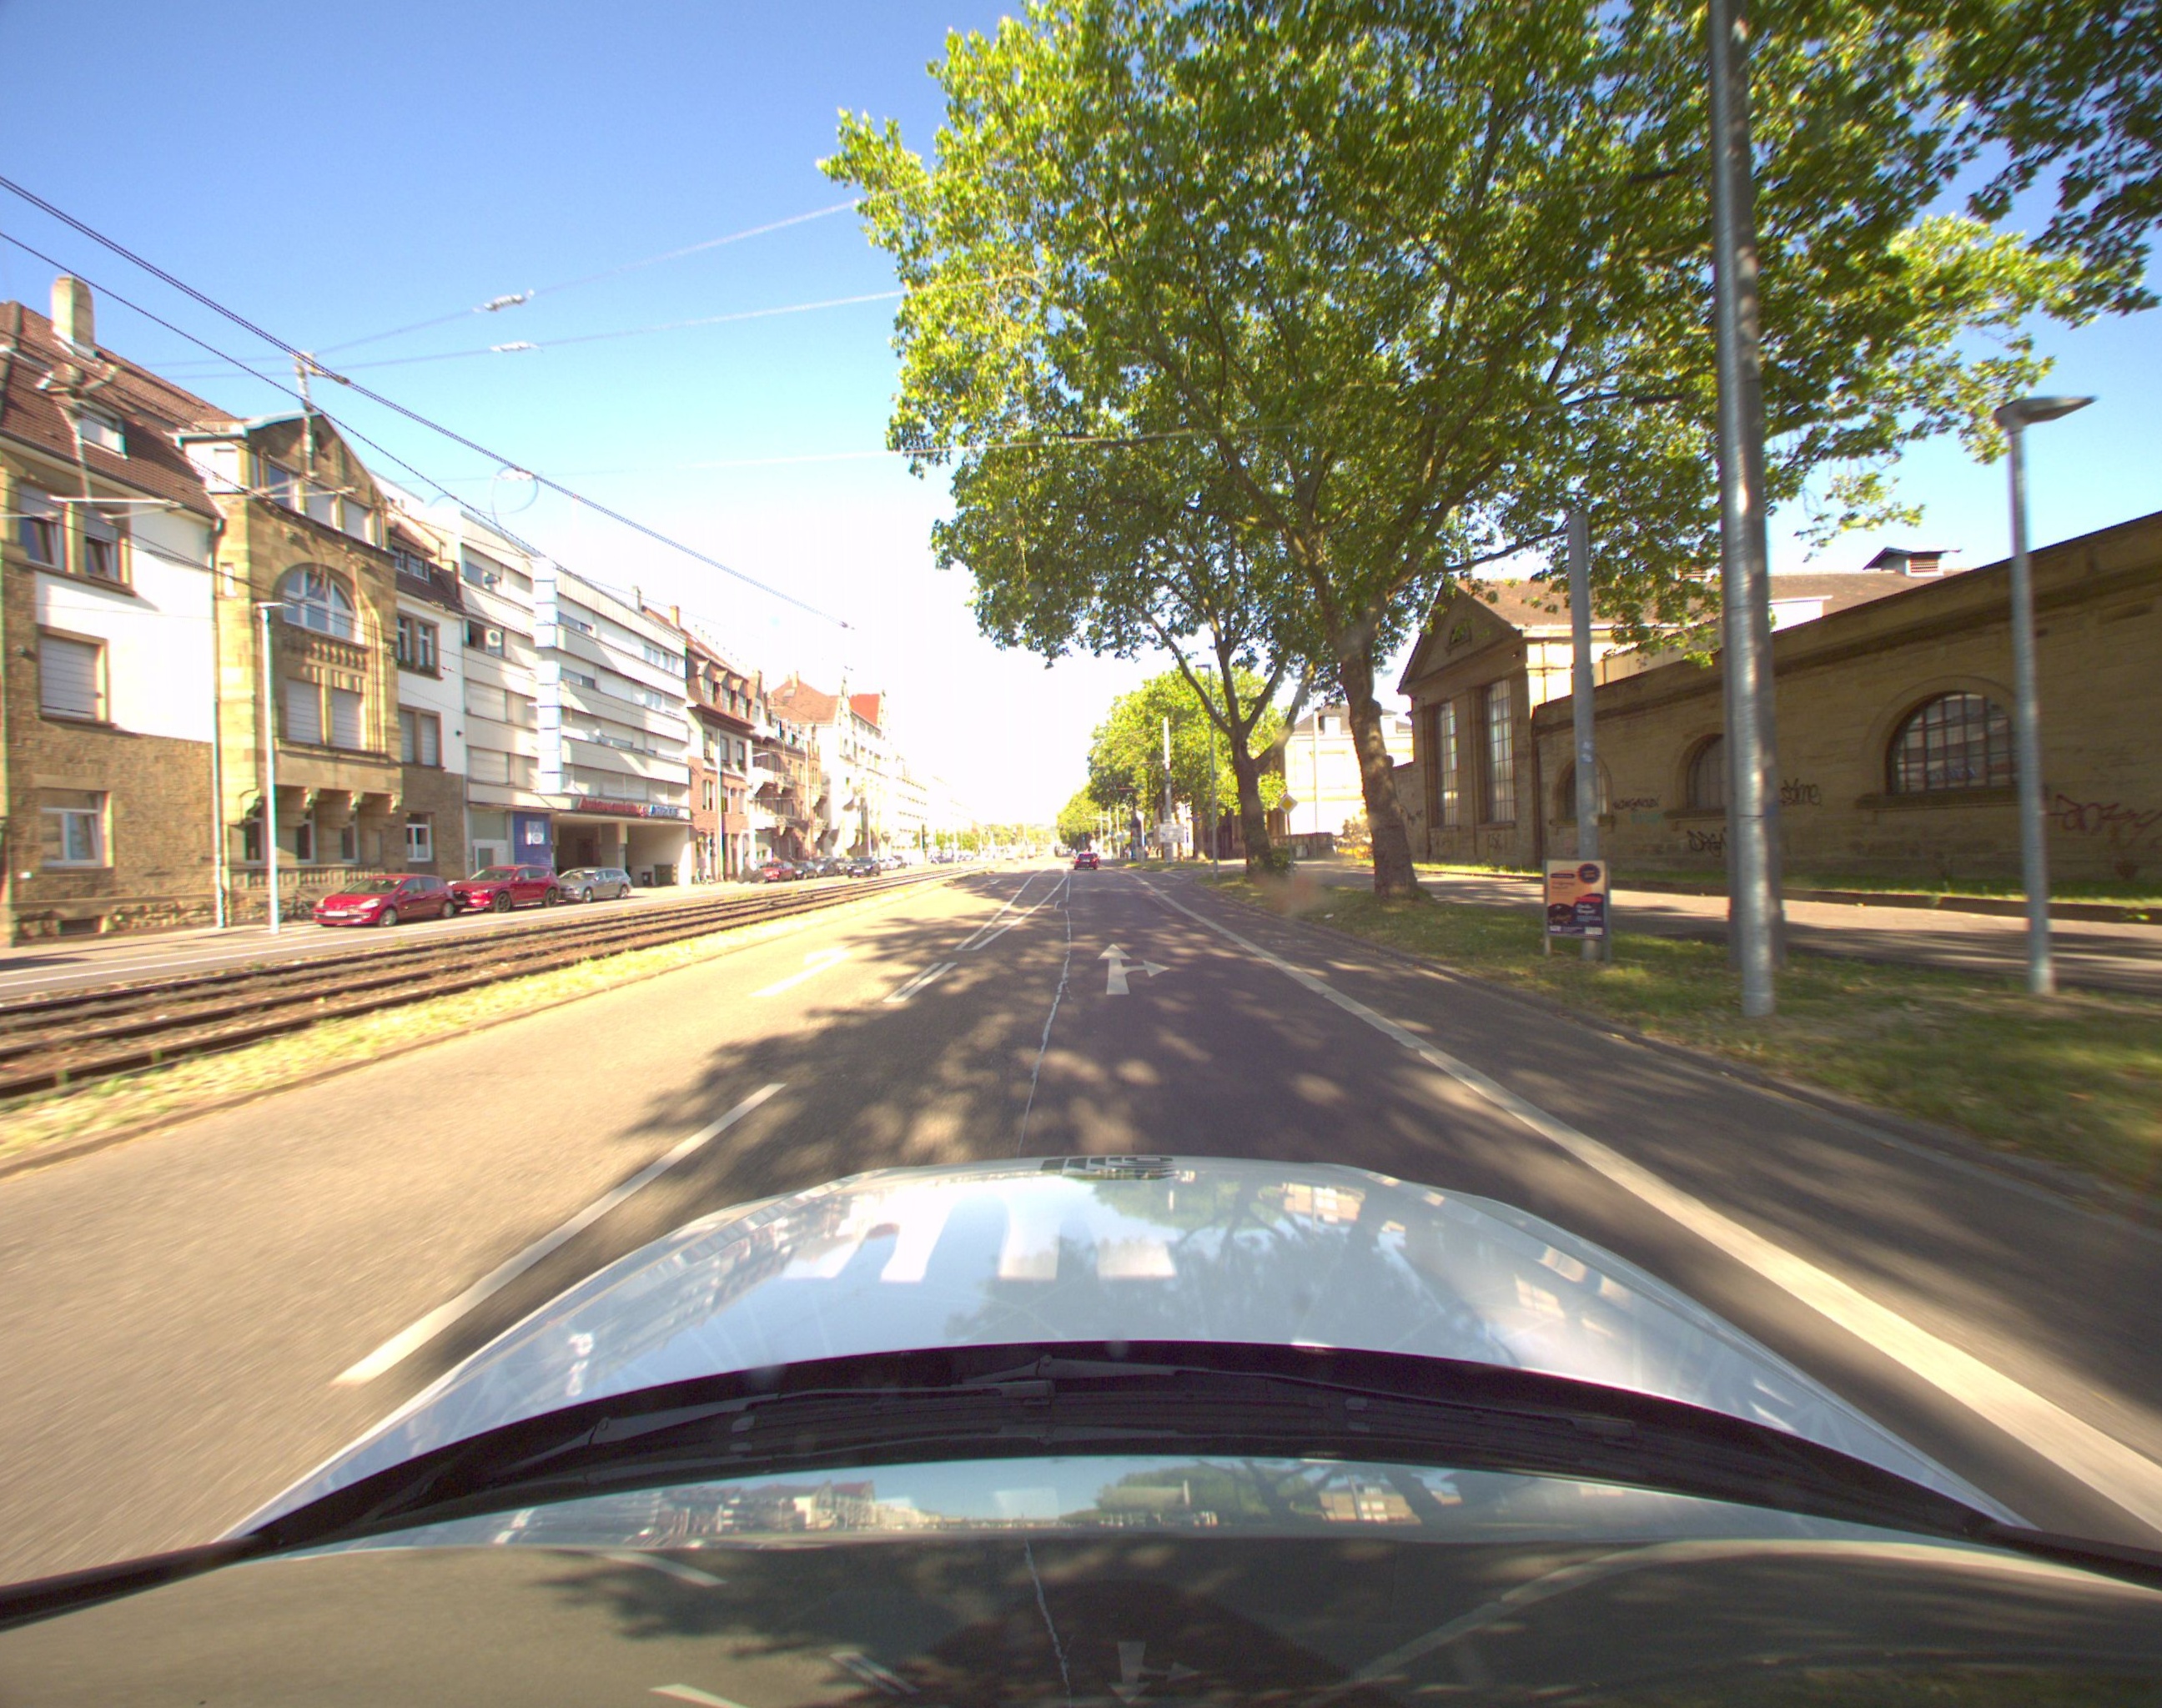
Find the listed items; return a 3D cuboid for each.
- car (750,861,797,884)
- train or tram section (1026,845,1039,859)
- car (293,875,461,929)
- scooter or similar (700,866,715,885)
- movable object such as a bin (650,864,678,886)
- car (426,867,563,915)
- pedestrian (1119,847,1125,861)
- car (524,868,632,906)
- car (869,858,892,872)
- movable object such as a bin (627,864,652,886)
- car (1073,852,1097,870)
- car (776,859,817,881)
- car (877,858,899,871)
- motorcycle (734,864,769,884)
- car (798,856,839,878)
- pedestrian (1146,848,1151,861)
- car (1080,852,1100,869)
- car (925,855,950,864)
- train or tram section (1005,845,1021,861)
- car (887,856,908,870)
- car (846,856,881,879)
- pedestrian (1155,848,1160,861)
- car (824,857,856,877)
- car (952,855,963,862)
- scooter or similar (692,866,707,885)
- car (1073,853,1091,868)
[{"bbox_3d":[-21.771,1.287,57.741,1.789,1.460,4.263,1,0,-2],"label":"car"},{"bbox_3d":[-12.484,-0.614,210.550,2.816,3.450,9.062,-2,0,0],"label":"train or tram section"},{"bbox_3d":[-21.172,1.392,24.738,1.831,1.391,4.027,1,0,-6],"label":"car"},{"bbox_3d":[-24.511,1.401,53.460,0.390,1.205,1.200,1,0,0],"label":"scooter or similar"},{"bbox_3d":[-26.535,1.327,51.854,1.410,1.371,0.633,-1,0,-8],"label":"movable object such as a bin"},{"bbox_3d":[-21.273,1.283,29.794,1.827,1.558,4.352,0,0,0],"label":"car"},{"bbox_3d":[4.903,-0.018,97.998,0.584,1.728,0.652,0,0,11],"label":"pedestrian"},{"bbox_3d":[-21.496,1.355,35.078,1.828,1.391,4.679,-1,0,-2],"label":"car"},{"bbox_3d":[-22.448,1.223,91.279,1.792,1.510,3.992,1,0,-6],"label":"car"},{"bbox_3d":[-27.989,1.328,51.655,1.192,1.371,0.633,-1,0,-8],"label":"movable object such as a bin"},{"bbox_3d":[0.328,0.565,68.122,1.828,1.391,4.156,-1,0,-2],"label":"car"},{"bbox_3d":[-21.772,1.208,62.406,1.789,1.510,3.998,1,0,-1],"label":"car"},{"bbox_3d":[-22.875,1.213,96.750,1.790,1.510,4.181,1,0,-2],"label":"car"},{"bbox_3d":[-21.998,1.330,54.414,2.072,1.327,0.836,1,0,-17],"label":"motorcycle"},{"bbox_3d":[-21.763,1.054,67.784,1.787,1.754,4.457,1,0,2],"label":"car"},{"bbox_3d":[9.306,0.063,112.124,0.584,1.728,0.652,0,0,11],"label":"pedestrian"},{"bbox_3d":[0.880,0.593,78.373,1.789,1.510,3.999,-2,0,-1],"label":"car"},{"bbox_3d":[-22.865,0.877,129.739,3.987,1.510,1.794,0,-1,-10],"label":"car"},{"bbox_3d":[-14.837,-0.266,179.084,2.817,3.450,9.060,-2,0,-1],"label":"train or tram section"},{"bbox_3d":[-23.019,1.080,102.316,1.790,1.719,4.181,1,0,-2],"label":"car"},{"bbox_3d":[-16.443,0.985,61.728,1.631,1.601,4.154,-3,0,-3],"label":"car"},{"bbox_3d":[10.572,0.066,112.073,0.584,1.728,0.652,0,0,13],"label":"pedestrian"},{"bbox_3d":[-21.847,1.155,73.933,1.682,1.652,4.197,1,0,-1],"label":"car"},{"bbox_3d":[-25.503,0.893,168.702,1.790,1.510,3.995,-2,0,-3],"label":"car"},{"bbox_3d":[-25.075,1.396,53.516,0.390,1.205,1.200,1,0,0],"label":"scooter or similar"},{"bbox_3d":[0.068,0.670,86.856,1.789,1.510,3.999,-2,0,-1],"label":"car"}]
